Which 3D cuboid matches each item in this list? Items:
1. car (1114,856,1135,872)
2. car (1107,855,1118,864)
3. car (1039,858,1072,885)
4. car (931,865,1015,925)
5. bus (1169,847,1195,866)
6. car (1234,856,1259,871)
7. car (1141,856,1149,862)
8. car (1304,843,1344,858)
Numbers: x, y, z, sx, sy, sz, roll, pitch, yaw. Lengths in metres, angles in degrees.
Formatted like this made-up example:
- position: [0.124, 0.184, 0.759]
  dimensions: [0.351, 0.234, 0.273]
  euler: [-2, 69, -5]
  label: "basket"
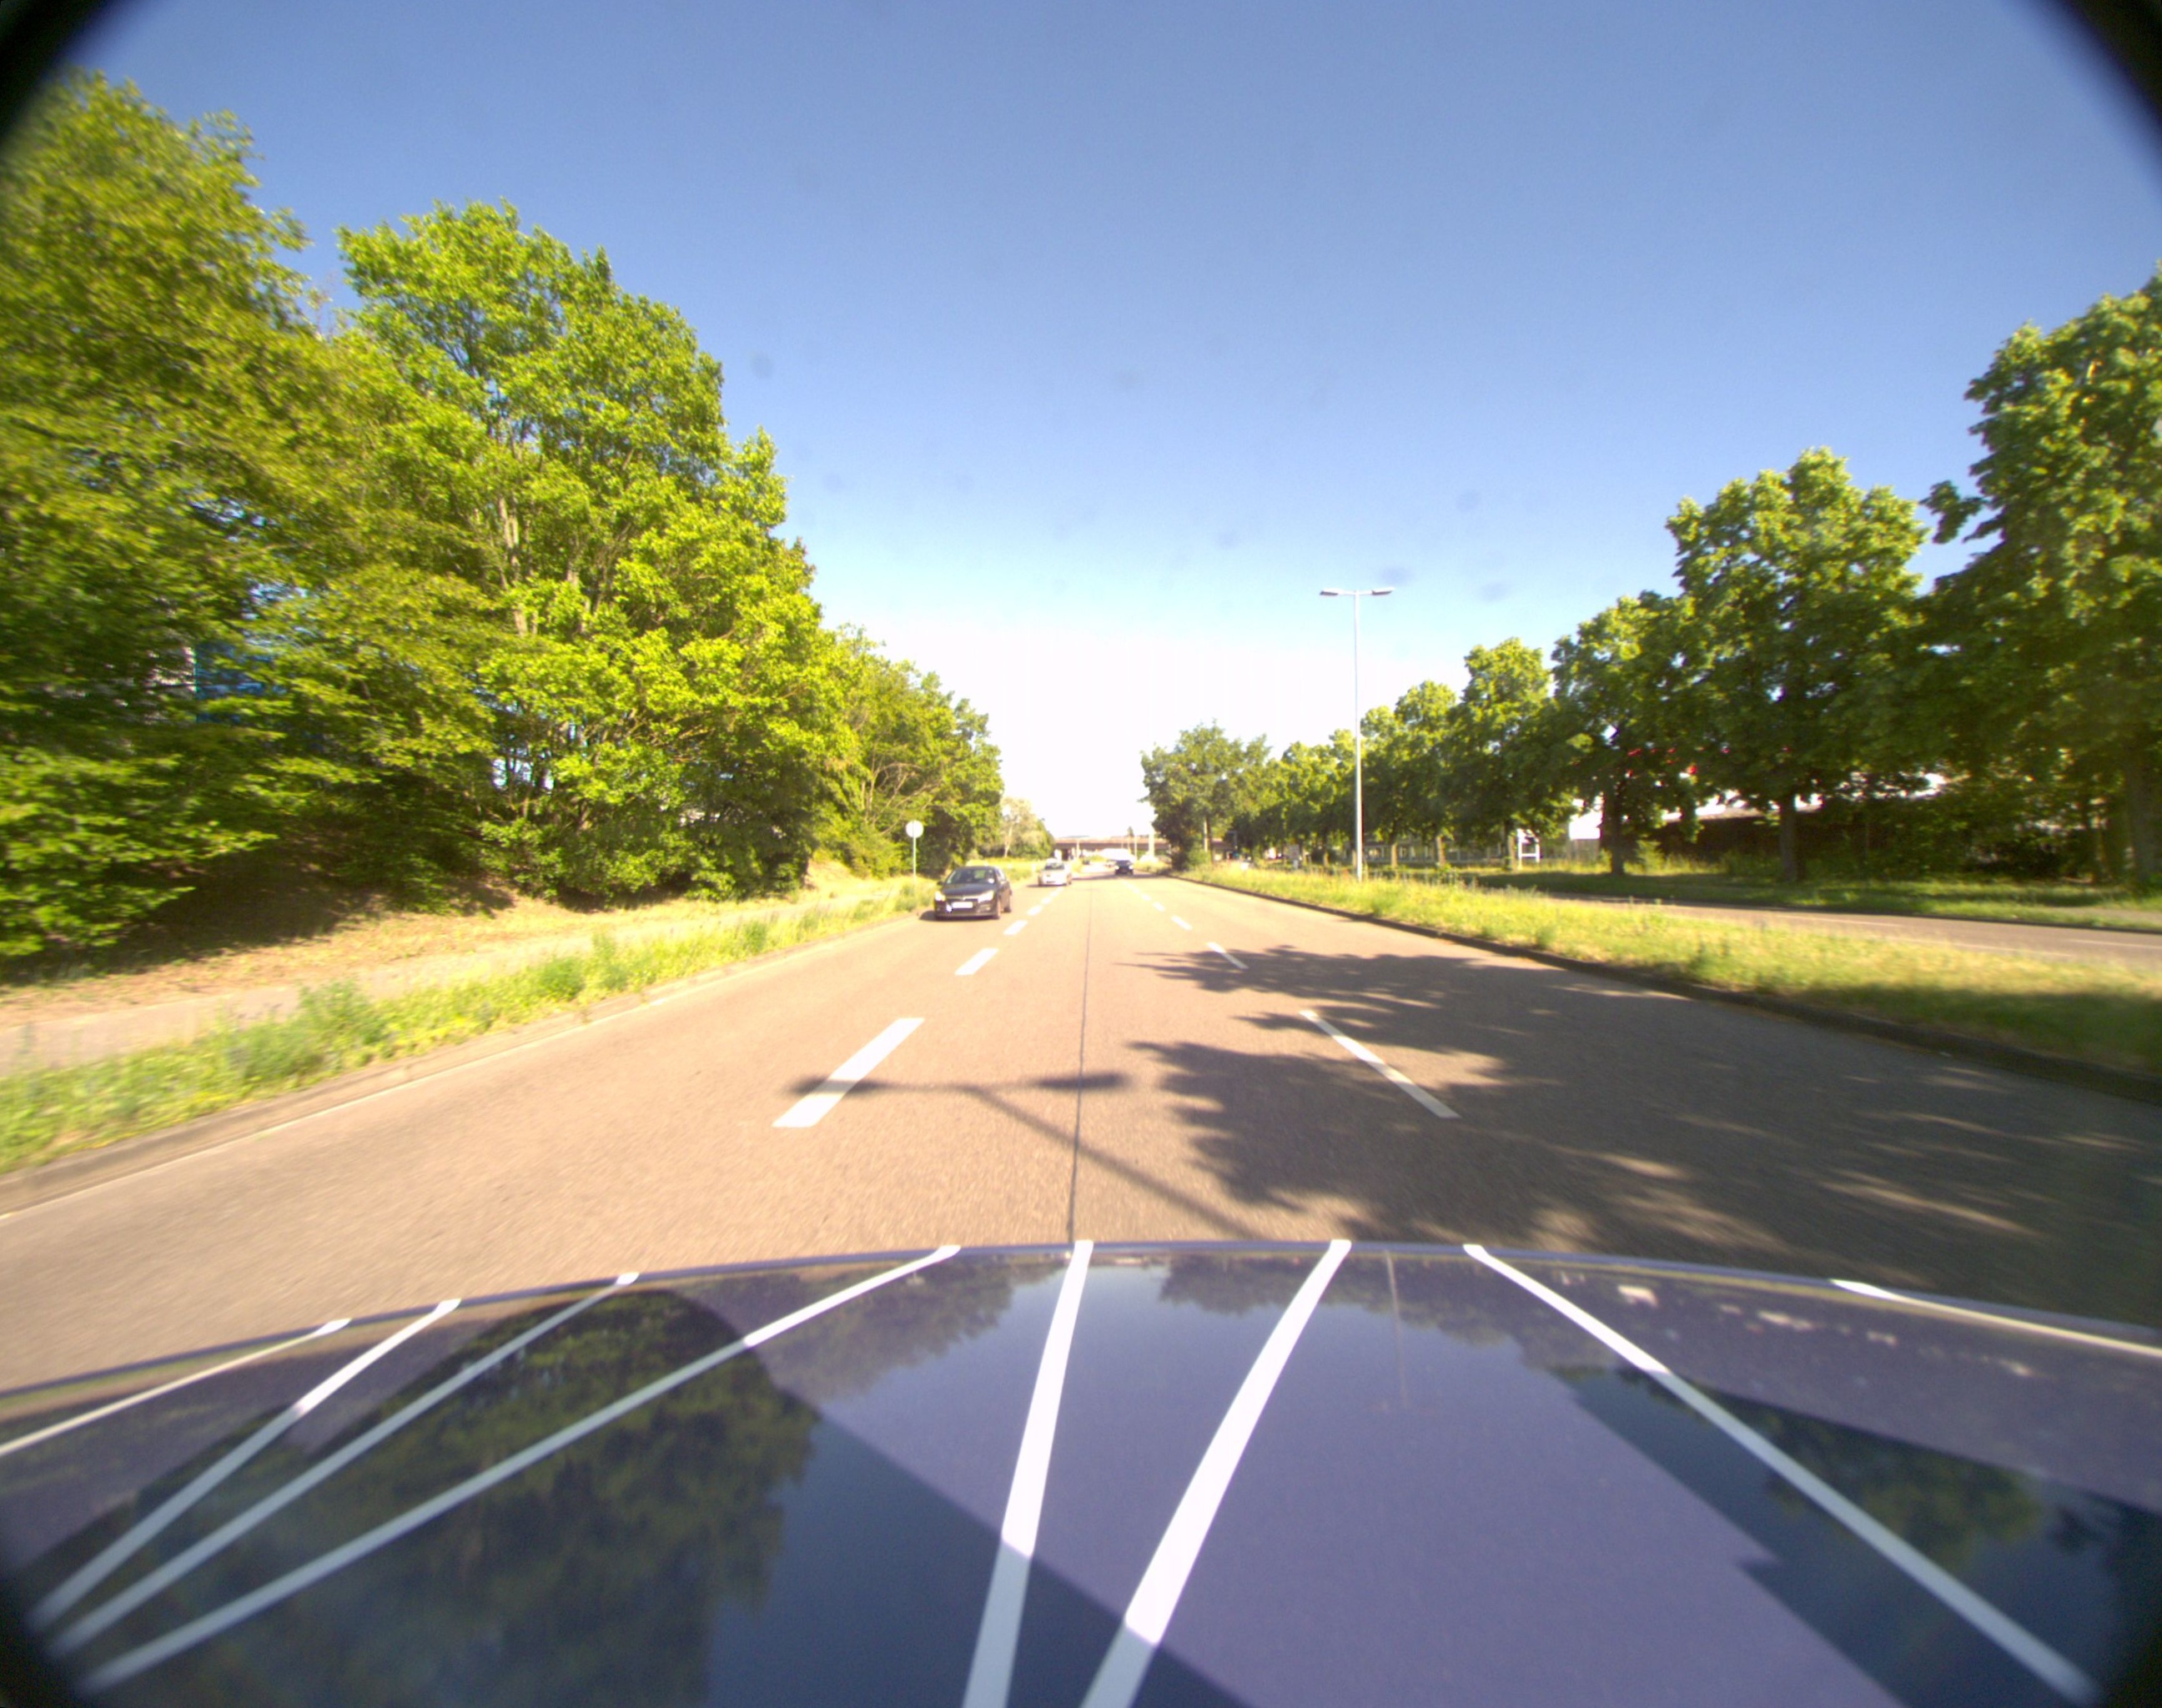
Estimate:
- position: [4.282, 0.974, 75.037]
  dimensions: [1.827, 1.528, 4.042]
  euler: [-1, 0, 1]
  label: "car"
- position: [5.756, 0.988, 138.551]
  dimensions: [1.827, 1.528, 4.042]
  euler: [-1, 0, 1]
  label: "car"
- position: [-1.513, 1.067, 47.302]
  dimensions: [1.827, 1.528, 4.042]
  euler: [-1, 0, 1]
  label: "car"
- position: [-2.942, 1.074, 21.465]
  dimensions: [1.706, 1.446, 3.959]
  euler: [-1, 0, 1]
  label: "car"
- position: [15.661, 0.427, 118.418]
  dimensions: [2.728, 2.705, 11.088]
  euler: [2, 0, 1]
  label: "bus"
- position: [17.912, 1.049, 82.370]
  dimensions: [1.760, 1.511, 4.530]
  euler: [1, 0, 1]
  label: "car"
- position: [19.314, 1.513, 230.339]
  dimensions: [1.947, 1.687, 4.630]
  euler: [1, 0, 1]
  label: "car"
- position: [40.224, -0.644, 125.910]
  dimensions: [5.893, 2.419, 2.206]
  euler: [0, 0, -2]
  label: "car"
